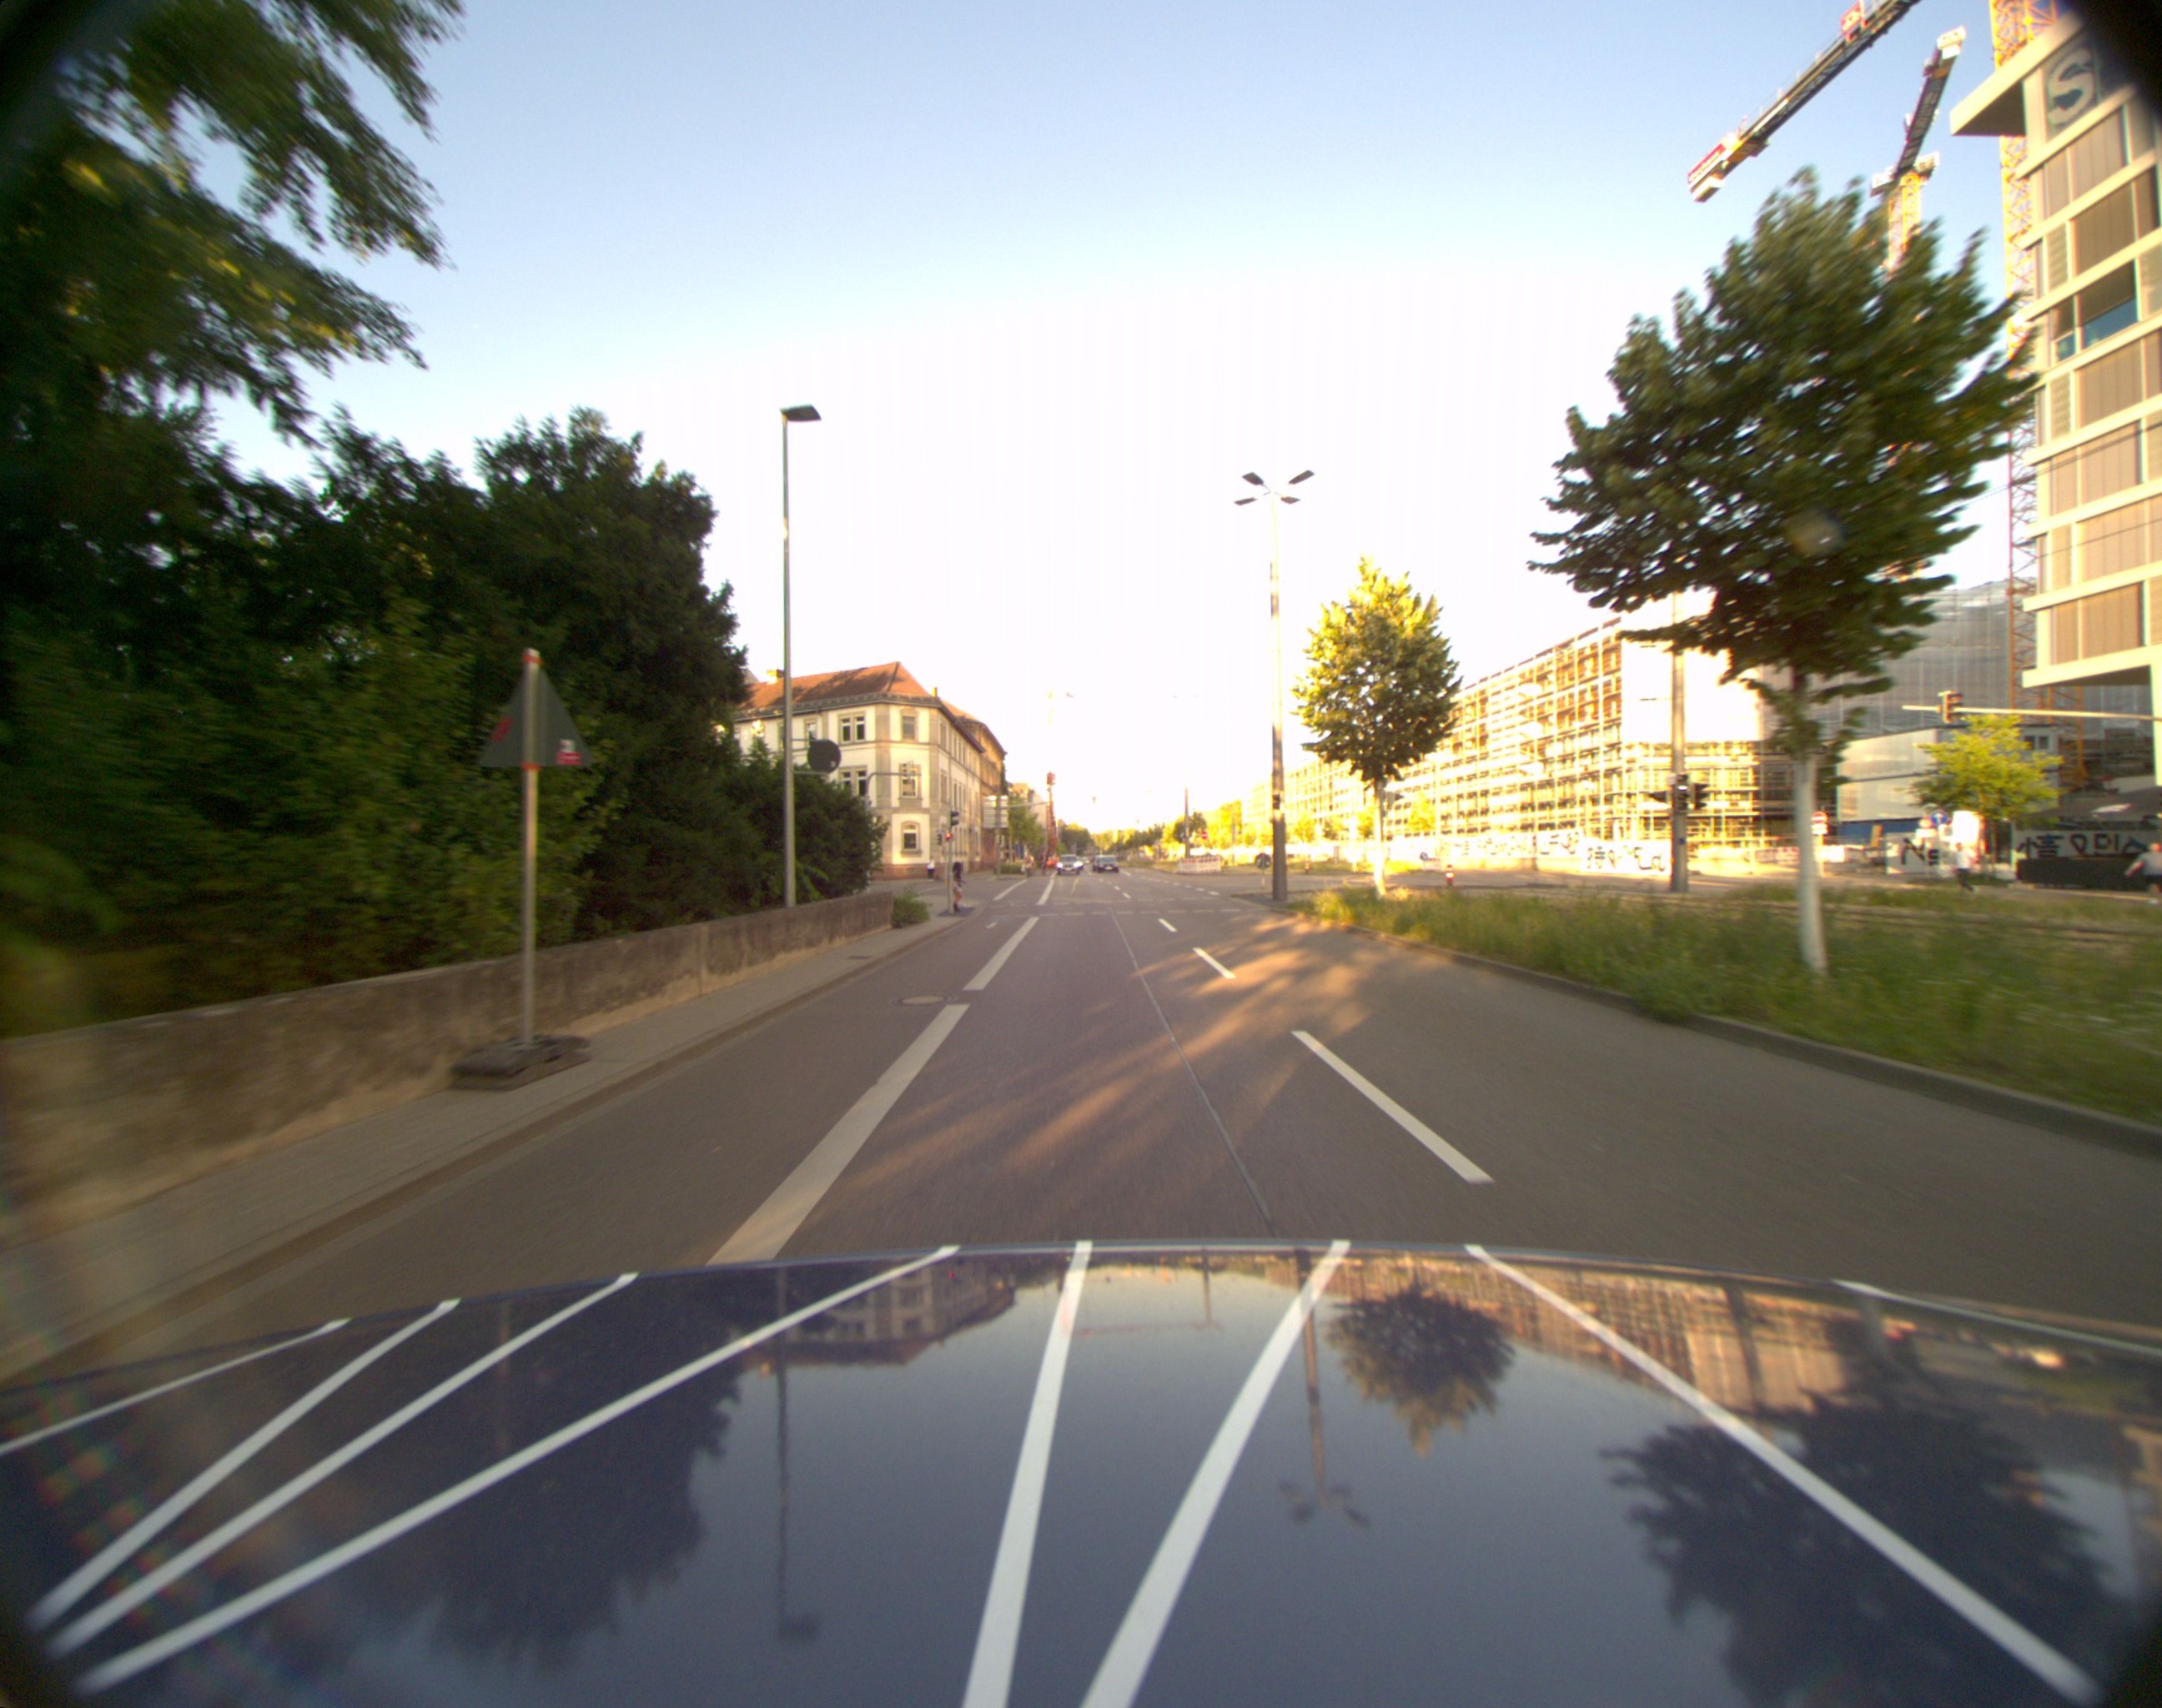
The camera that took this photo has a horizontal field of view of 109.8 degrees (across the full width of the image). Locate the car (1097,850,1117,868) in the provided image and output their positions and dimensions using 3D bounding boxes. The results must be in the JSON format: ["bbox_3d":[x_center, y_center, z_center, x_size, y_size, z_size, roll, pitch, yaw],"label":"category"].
[{"bbox_3d":[2.459,0.475,72.018,1.861,1.588,4.260,-2,0,1],"label":"car"}]

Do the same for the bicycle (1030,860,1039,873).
[{"bbox_3d":[-3.875,1.002,63.487,0.517,1.045,2.044,0,0,3],"label":"bicycle"}]

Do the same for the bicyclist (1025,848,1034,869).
[{"bbox_3d":[-4.132,0.356,61.021,0.510,1.692,0.768,2,2,4],"label":"bicyclist"}]

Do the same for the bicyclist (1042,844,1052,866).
[{"bbox_3d":[-2.741,0.074,61.050,0.705,1.692,0.767,-5,2,-3],"label":"bicyclist"}]

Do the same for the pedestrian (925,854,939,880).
[{"bbox_3d":[-9.853,0.852,50.255,0.819,1.647,0.635,-1,1,-19],"label":"pedestrian"}]

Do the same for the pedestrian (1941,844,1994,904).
[{"bbox_3d":[27.550,0.614,23.626,0.708,1.825,0.763,-3,1,-1],"label":"pedestrian"}]

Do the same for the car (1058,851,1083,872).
[{"bbox_3d":[-0.848,0.603,63.346,1.833,1.588,4.260,-2,0,1],"label":"car"}]

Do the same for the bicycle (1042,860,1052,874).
[{"bbox_3d":[-2.687,1.014,60.930,0.721,1.045,2.043,-3,1,-2],"label":"bicycle"}]

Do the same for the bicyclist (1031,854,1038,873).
[{"bbox_3d":[-3.884,0.768,63.237,0.512,1.539,0.692,0,1,3],"label":"bicyclist"}]

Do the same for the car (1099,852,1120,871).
[{"bbox_3d":[2.427,0.604,64.951,1.702,1.588,4.260,-2,0,1],"label":"car"}]

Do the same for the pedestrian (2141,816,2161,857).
[{"bbox_3d":[39.321,-0.630,27.589,0.605,1.454,0.772,-1,1,0],"label":"pedestrian"}]

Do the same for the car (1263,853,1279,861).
[{"bbox_3d":[35.449,0.526,141.696,1.668,1.446,4.067,1,0,-3],"label":"car"}]

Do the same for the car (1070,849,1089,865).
[{"bbox_3d":[-0.130,0.286,82.076,1.879,1.652,3.762,-2,0,1],"label":"car"}]

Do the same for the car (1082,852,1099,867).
[{"bbox_3d":[1.031,0.563,81.895,1.702,1.588,3.890,-2,0,1],"label":"car"}]

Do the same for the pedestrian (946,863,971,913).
[{"bbox_3d":[-3.769,1.054,23.491,0.580,1.495,0.619,2,1,7],"label":"pedestrian"}]

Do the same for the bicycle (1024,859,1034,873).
[{"bbox_3d":[-4.157,0.981,60.967,0.528,1.045,2.048,2,2,4],"label":"bicycle"}]
